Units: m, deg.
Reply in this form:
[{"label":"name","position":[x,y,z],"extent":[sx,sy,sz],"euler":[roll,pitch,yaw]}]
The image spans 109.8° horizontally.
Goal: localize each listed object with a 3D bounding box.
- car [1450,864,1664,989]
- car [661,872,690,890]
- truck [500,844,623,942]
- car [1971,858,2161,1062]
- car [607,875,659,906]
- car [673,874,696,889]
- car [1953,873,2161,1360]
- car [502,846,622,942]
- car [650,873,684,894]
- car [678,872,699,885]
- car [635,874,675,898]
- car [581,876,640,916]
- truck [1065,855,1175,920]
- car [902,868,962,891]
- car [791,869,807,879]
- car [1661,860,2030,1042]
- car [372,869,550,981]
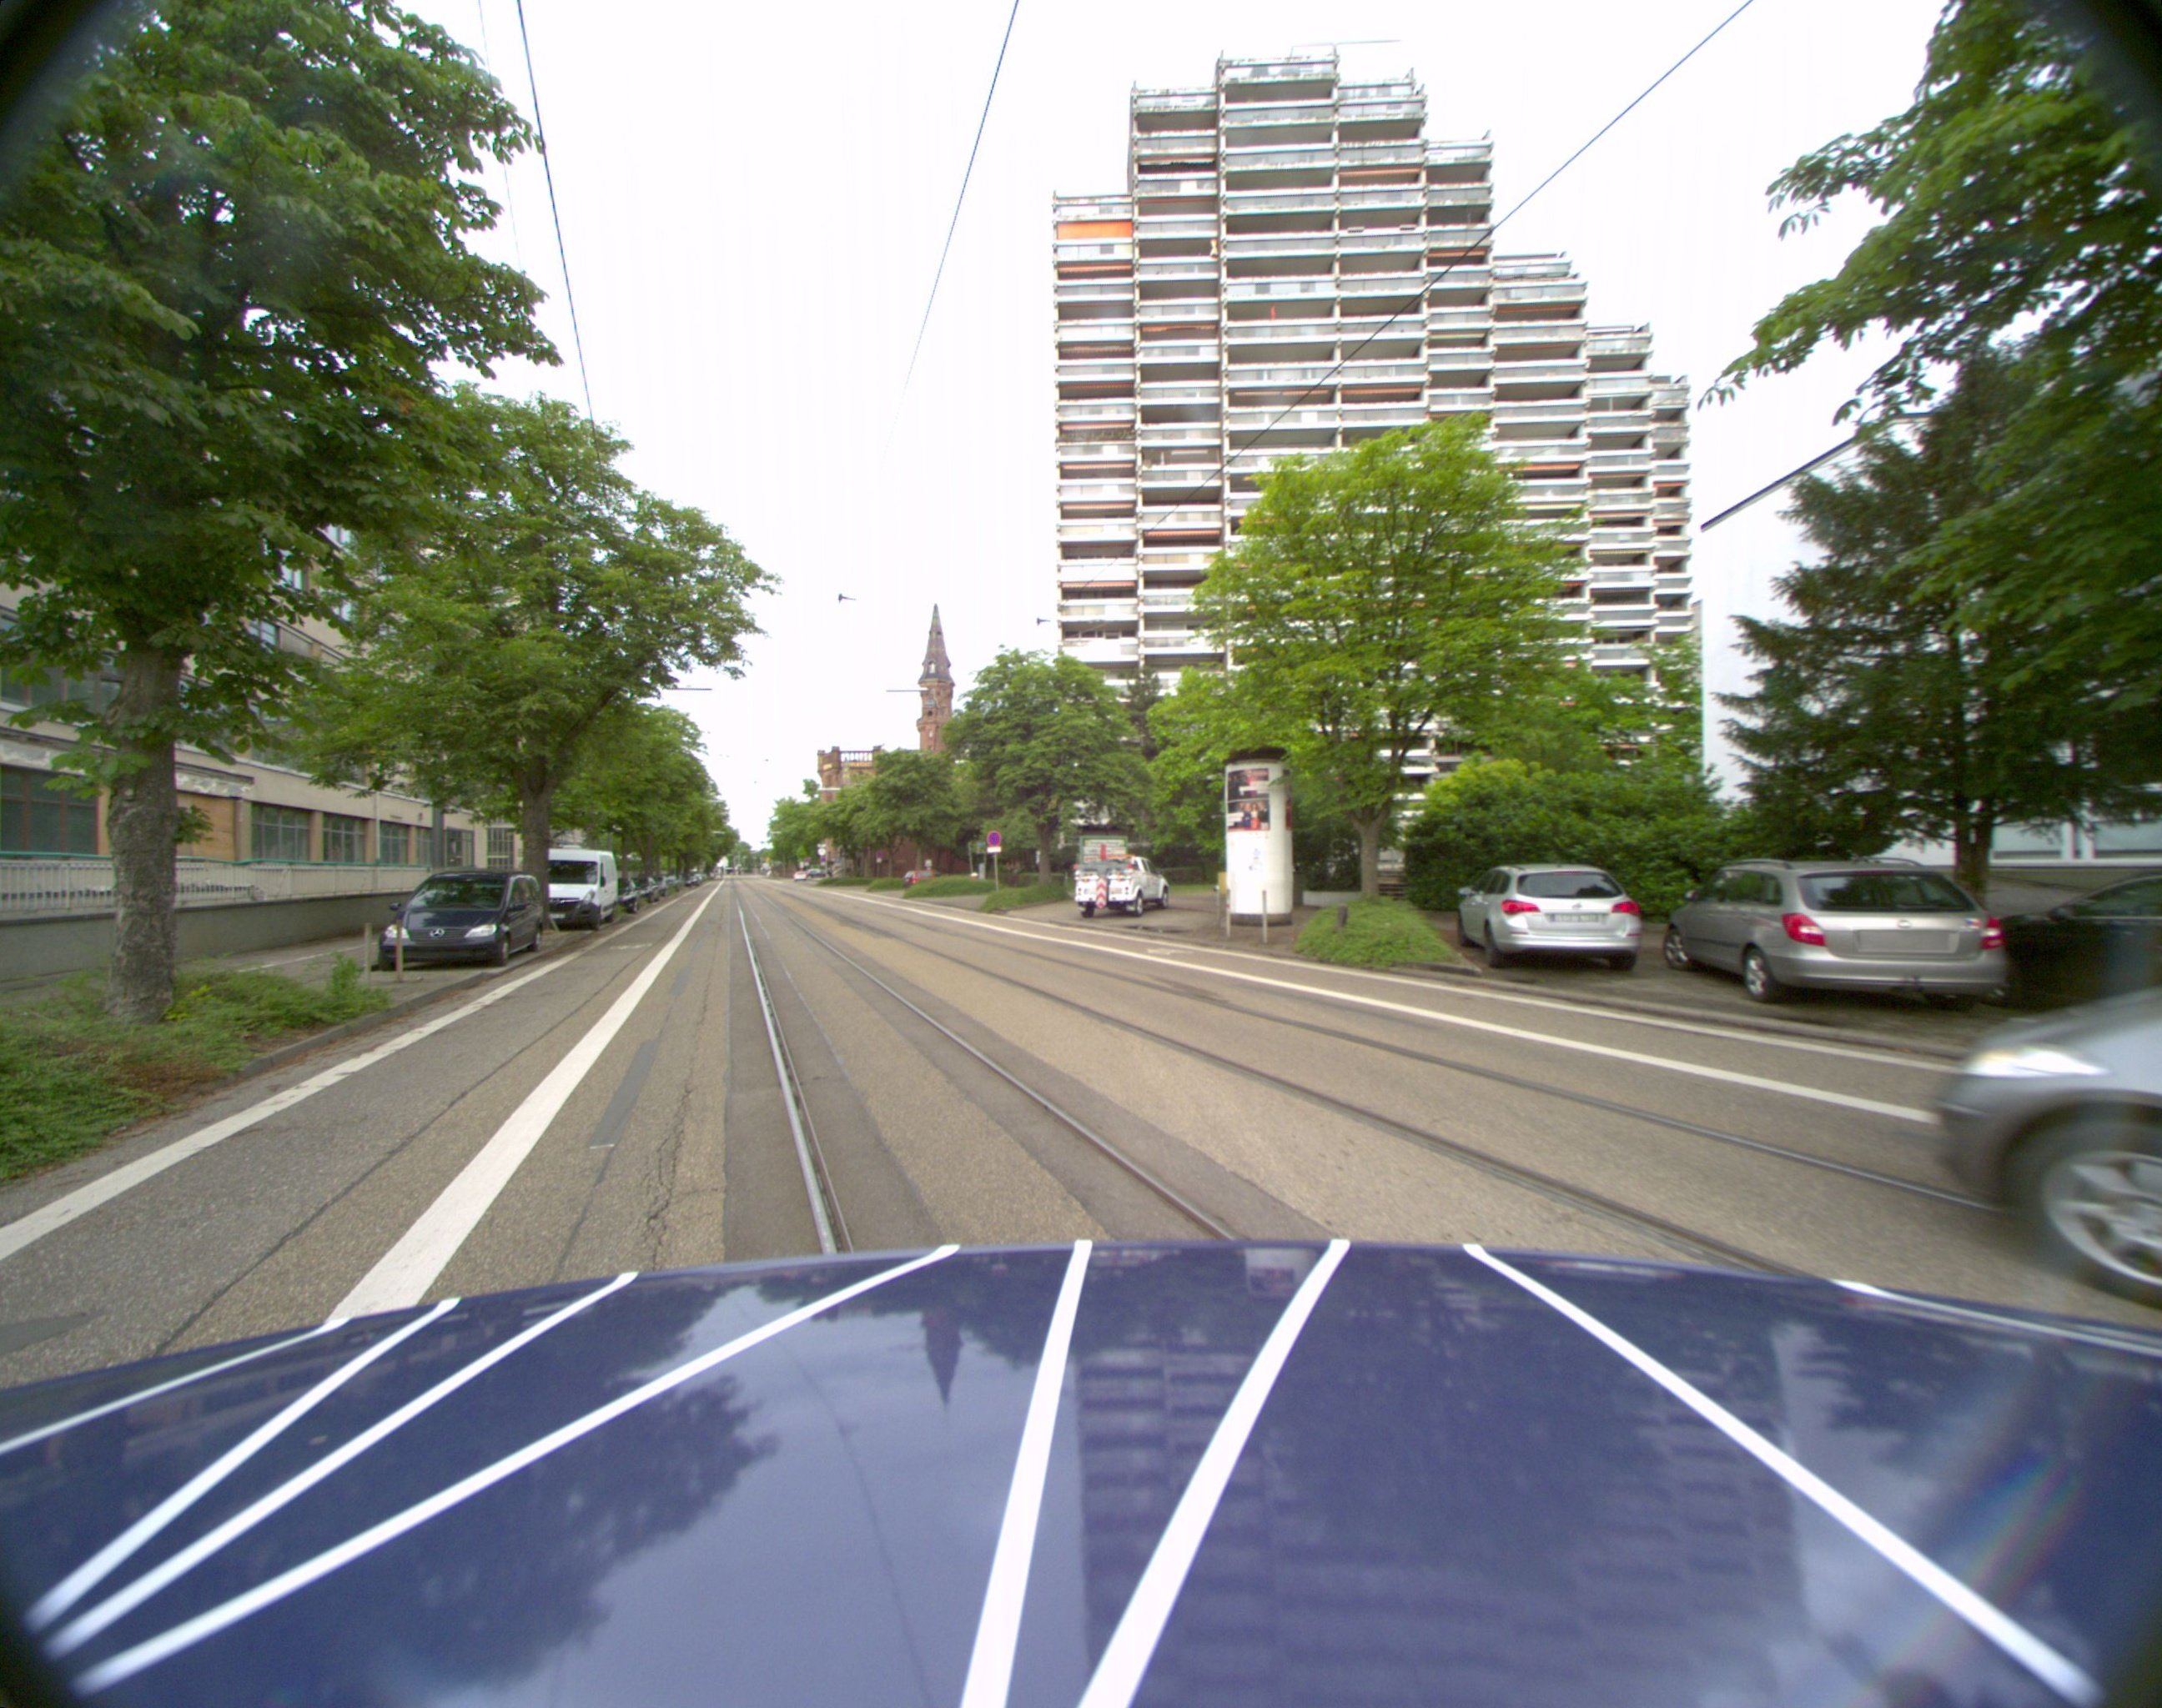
[{"label":"car","position":[7.071,0.947,11.816],"extent":[1.800,1.456,4.438],"euler":[-1,0,18]},{"label":"car","position":[-35.807,2.391,67.189],"extent":[2.002,1.452,4.385],"euler":[-1,0,-25]},{"label":"truck","position":[-15.898,1.111,23.619],"extent":[2.122,2.587,5.481],"euler":[-3,0,-25]},{"label":"car","position":[9.254,0.835,5.759],"extent":[1.696,1.515,3.711],"euler":[-2,0,21]},{"label":"car","position":[-24.142,1.918,41.089],"extent":[2.002,1.452,4.385],"euler":[-1,0,-25]},{"label":"car","position":[-42.047,2.855,80.627],"extent":[2.002,1.452,4.385],"euler":[-1,0,-25]},{"label":"car","position":[4.847,0.812,1.485],"extent":[1.909,1.521,3.747],"euler":[1,-1,-25]},{"label":"car","position":[-15.846,1.126,23.554],"extent":[2.122,2.587,5.481],"euler":[-2,0,-25]},{"label":"car","position":[-32.549,2.294,59.846],"extent":[2.002,1.452,4.385],"euler":[-1,0,-25]},{"label":"car","position":[-47.053,2.938,91.164],"extent":[2.002,1.452,4.385],"euler":[-1,0,-25]},{"label":"car","position":[-28.762,2.097,51.366],"extent":[2.002,1.452,4.385],"euler":[-1,0,-25]},{"label":"car","position":[-19.720,1.706,31.965],"extent":[1.829,1.491,4.097],"euler":[1,-1,-28]},{"label":"truck","position":[1.412,0.981,24.463],"extent":[1.995,1.837,5.072],"euler":[-2,0,21]},{"label":"car","position":[-9.845,1.646,50.264],"extent":[3.510,1.369,1.630],"euler":[-1,1,-38]},{"label":"car","position":[-42.831,2.995,115.472],"extent":[2.003,1.521,3.992],"euler":[0,-1,-25]},{"label":"car","position":[8.139,0.876,8.566],"extent":[1.569,1.515,3.657],"euler":[-2,0,21]},{"label":"car","position":[-11.692,1.218,14.646],"extent":[1.661,1.801,4.076],"euler":[2,-1,-25]}]
